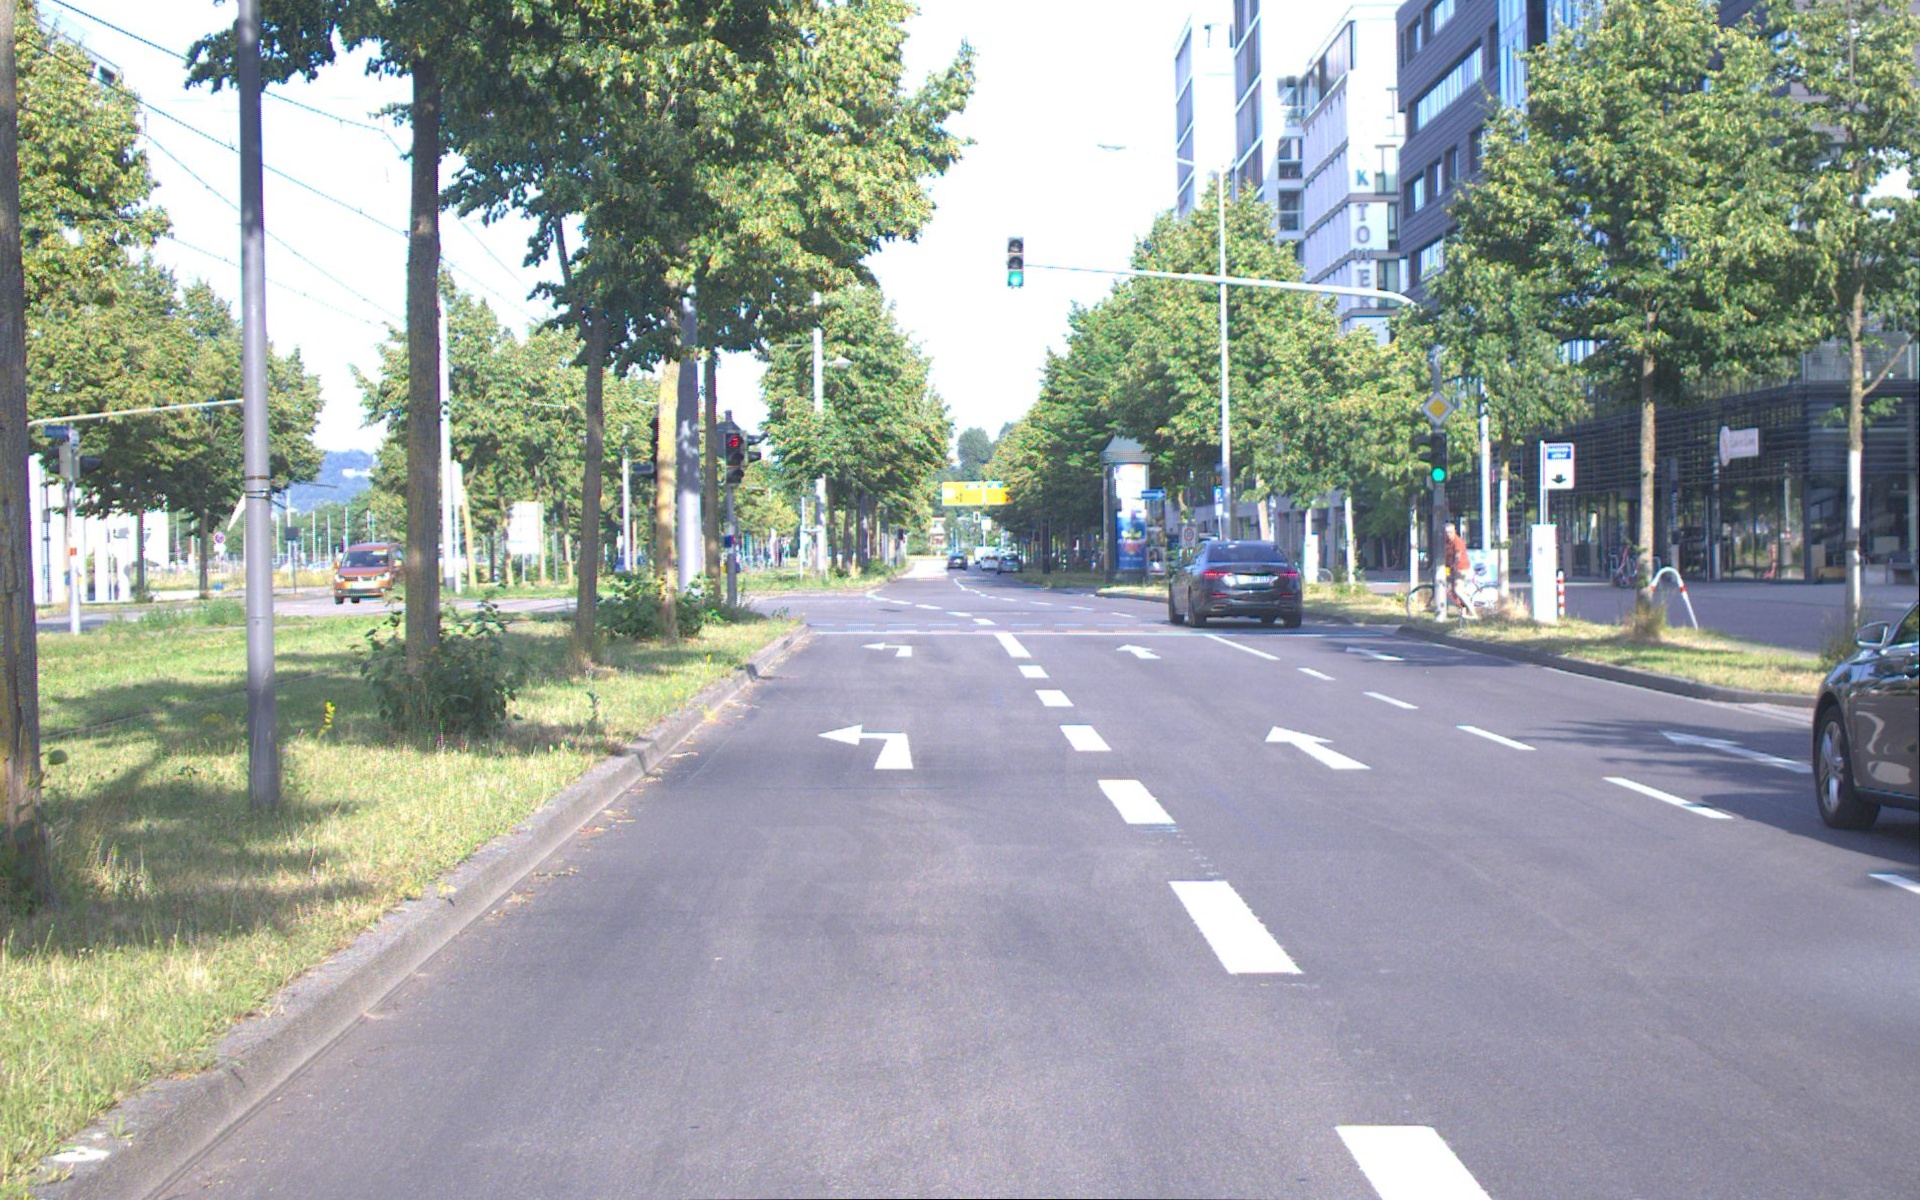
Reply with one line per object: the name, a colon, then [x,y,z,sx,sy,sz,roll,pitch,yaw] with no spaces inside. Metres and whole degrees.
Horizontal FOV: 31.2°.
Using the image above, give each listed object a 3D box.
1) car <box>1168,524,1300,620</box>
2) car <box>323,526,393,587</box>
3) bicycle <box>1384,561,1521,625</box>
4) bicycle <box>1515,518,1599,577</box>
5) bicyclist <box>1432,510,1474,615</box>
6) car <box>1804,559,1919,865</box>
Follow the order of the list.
car: [4.509,-0.469,57.092,1.859,1.519,3.786,1,1,0]
car: [-18.204,-1.312,104.086,1.684,1.769,3.883,1,1,-4]
bicycle: [8.054,-0.113,56.240,2.134,1.009,0.571,1,0,-4]
bicycle: [17.816,-1.565,102.602,2.436,1.740,0.554,1,0,9]
bicyclist: [8.064,-0.614,56.231,0.574,1.701,0.541,1,0,-2]
car: [5.342,0.530,16.106,1.774,1.419,3.961,1,1,0]
